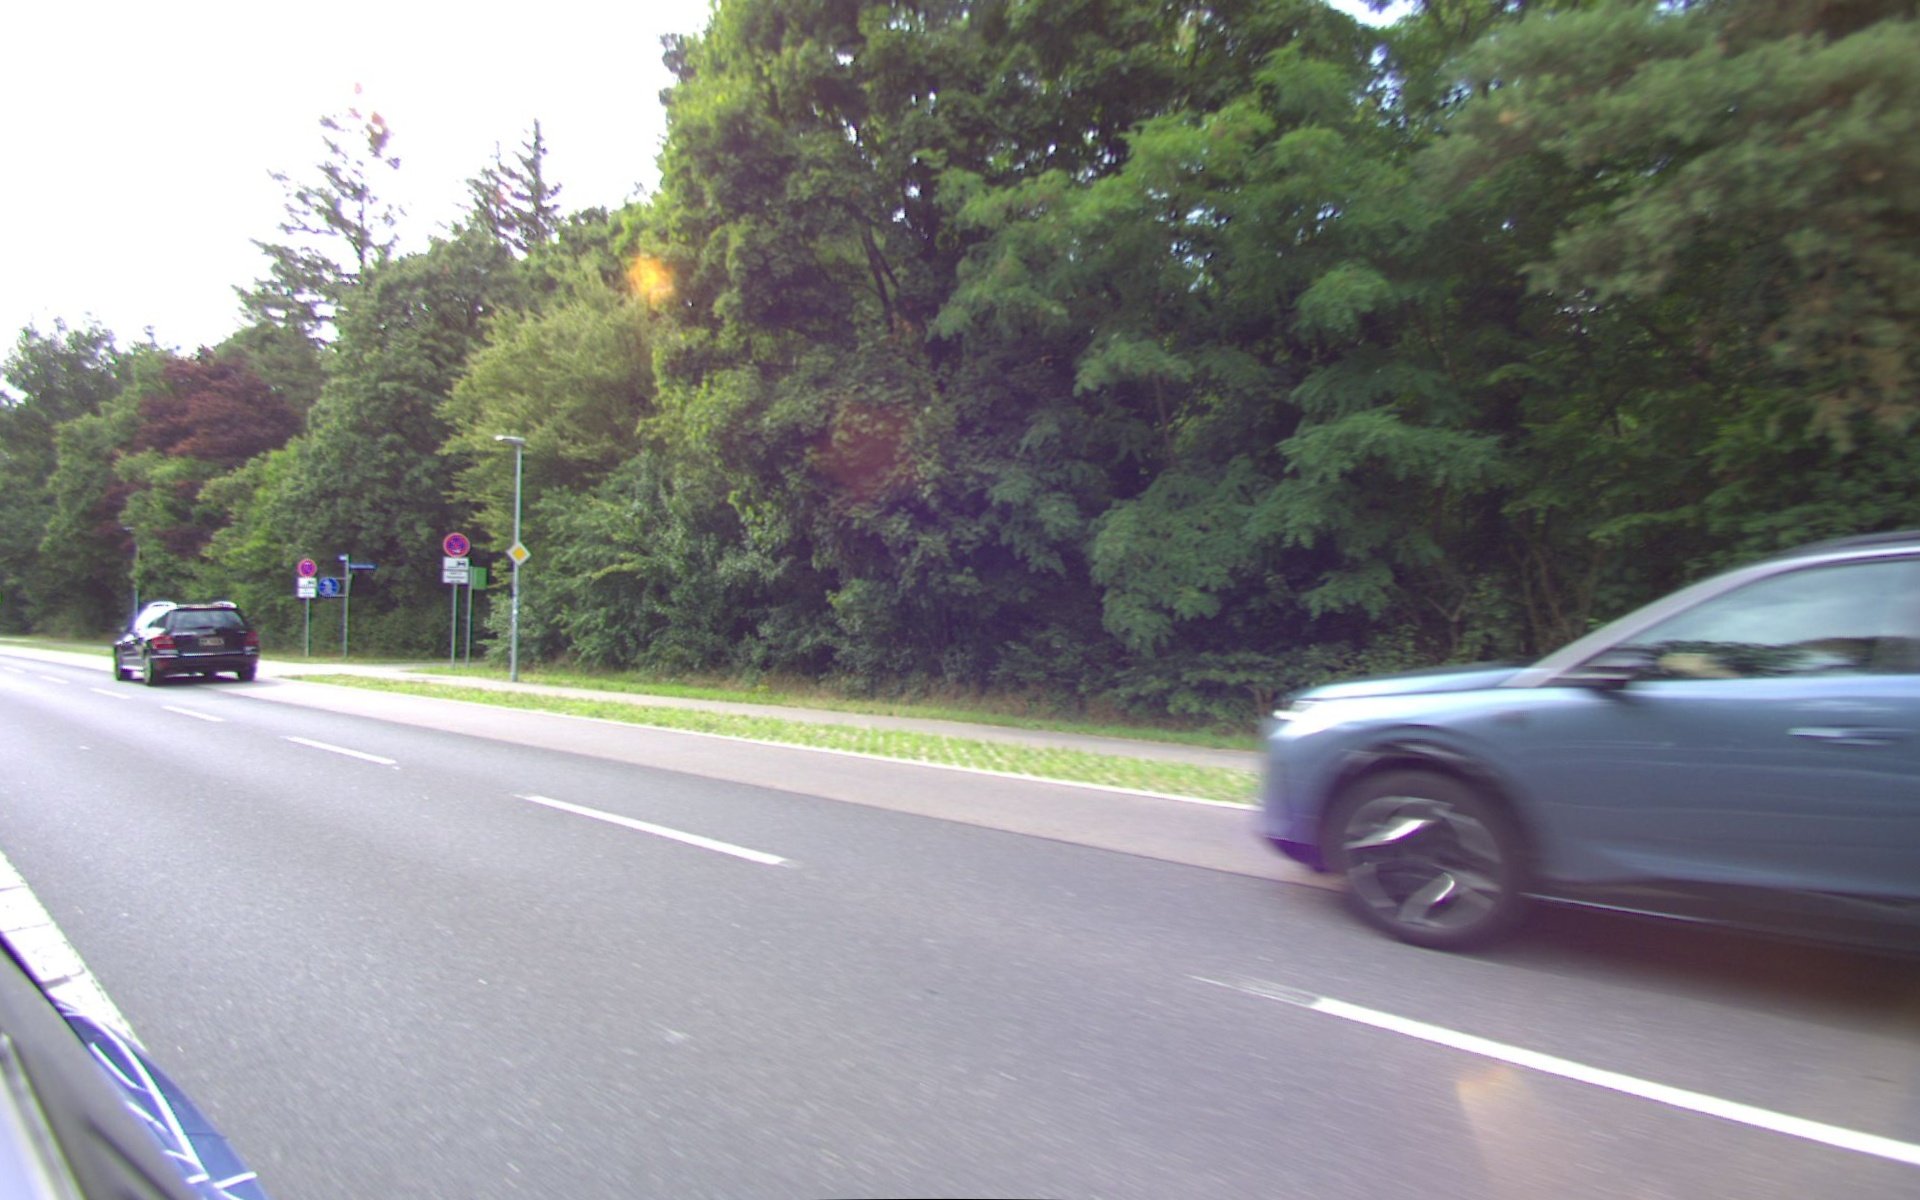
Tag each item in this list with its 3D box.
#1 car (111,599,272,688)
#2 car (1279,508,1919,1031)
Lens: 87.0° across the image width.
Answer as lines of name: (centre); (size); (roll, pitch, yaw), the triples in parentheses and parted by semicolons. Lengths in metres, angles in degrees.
car: (-16.373, 0.833, 21.483); (4.468, 1.667, 1.903); (0, 1, 42)
car: (3.817, 0.521, 3.733); (4.663, 1.629, 1.972); (0, 0, 42)
